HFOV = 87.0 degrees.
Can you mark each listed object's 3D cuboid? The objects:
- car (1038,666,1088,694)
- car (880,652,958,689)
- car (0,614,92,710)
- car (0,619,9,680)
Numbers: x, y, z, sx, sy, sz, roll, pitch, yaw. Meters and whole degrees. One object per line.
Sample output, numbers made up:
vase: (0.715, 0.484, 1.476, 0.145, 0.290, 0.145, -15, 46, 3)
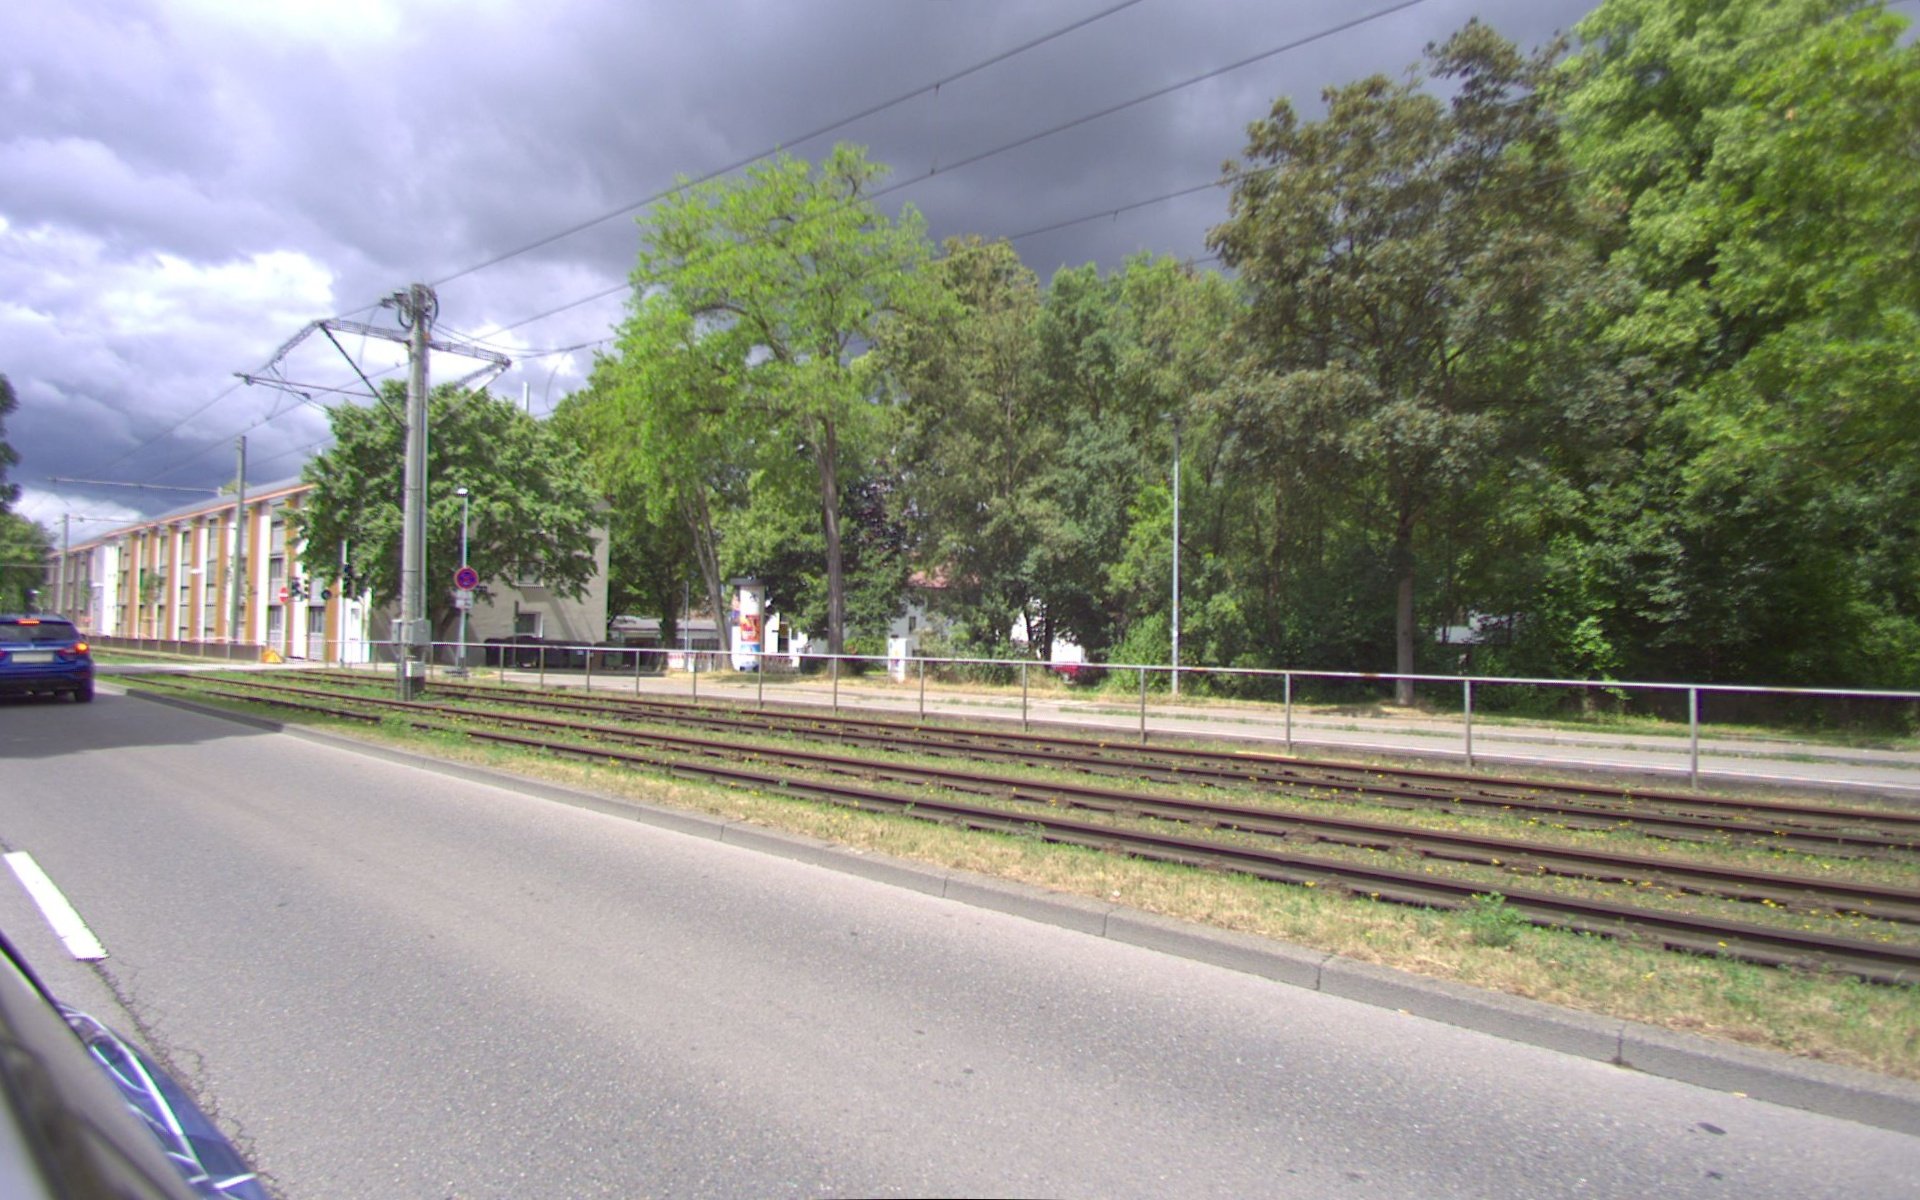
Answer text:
car: (8.354, 6.497, 82.519, 3.623, 2.029, 1.938, 0, 0, 41)
car: (-2.210, 3.887, 55.301, 2.000, 1.873, 3.944, 0, -4, 42)
car: (-17.330, 1.084, 18.466, 4.164, 1.578, 1.695, -2, -1, 41)
car: (-26.459, 1.320, 26.636, 3.997, 1.556, 1.699, -2, -2, 41)
